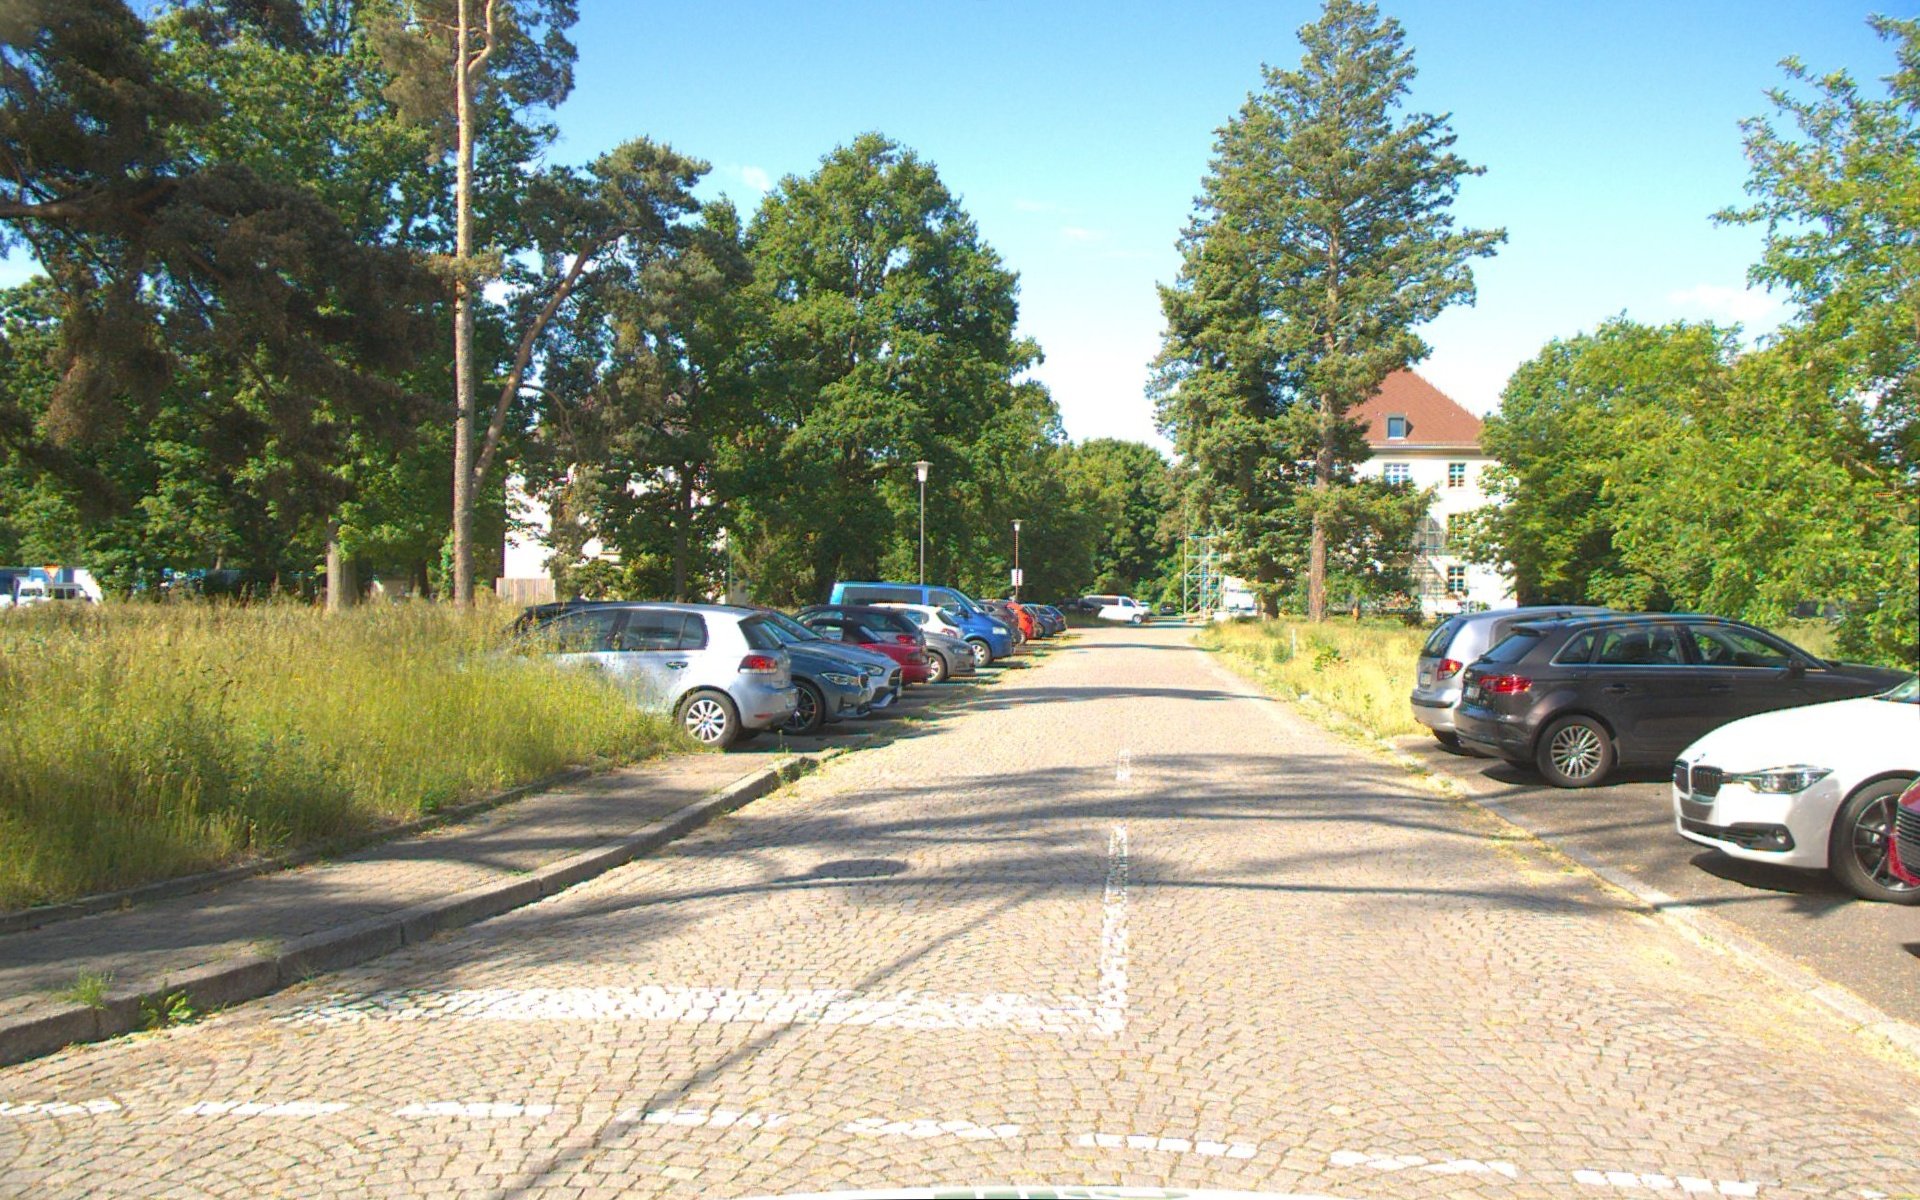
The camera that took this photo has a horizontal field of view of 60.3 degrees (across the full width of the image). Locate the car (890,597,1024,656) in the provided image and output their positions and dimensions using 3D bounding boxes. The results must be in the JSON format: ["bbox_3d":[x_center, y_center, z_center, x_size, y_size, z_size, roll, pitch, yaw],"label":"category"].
[{"bbox_3d":[-0.060,0.795,50.145,3.870,1.595,1.975,2,1,4],"label":"car"}]

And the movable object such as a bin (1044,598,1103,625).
[{"bbox_3d":[7.614,0.770,110.795,3.494,1.775,2.023,0,0,25],"label":"movable object such as a bin"}]

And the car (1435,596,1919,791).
[{"bbox_3d":[6.451,0.786,14.756,3.920,1.466,1.845,-3,0,4],"label":"car"}]

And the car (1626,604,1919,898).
[{"bbox_3d":[6.420,0.751,9.497,4.418,1.490,1.839,-2,-1,3],"label":"car"}]

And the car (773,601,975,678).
[{"bbox_3d":[-1.836,0.829,36.011,4.107,1.501,1.825,2,0,6],"label":"car"}]

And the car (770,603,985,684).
[{"bbox_3d":[-1.608,0.838,33.087,3.990,1.450,1.924,2,0,7],"label":"car"}]

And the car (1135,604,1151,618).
[{"bbox_3d":[20.936,1.223,188.989,1.774,1.607,4.137,0,0,6],"label":"car"}]

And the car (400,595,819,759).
[{"bbox_3d":[-3.639,0.767,17.654,3.942,1.509,1.950,2,1,4],"label":"car"}]

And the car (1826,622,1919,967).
[{"bbox_3d":[6.247,0.756,6.685,4.441,1.446,1.895,-2,-1,5],"label":"car"}]

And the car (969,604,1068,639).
[{"bbox_3d":[2.675,0.964,75.306,4.267,1.470,1.922,1,0,9],"label":"car"}]

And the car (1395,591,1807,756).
[{"bbox_3d":[6.654,0.752,17.497,3.662,1.502,1.753,-3,-1,4],"label":"car"}]

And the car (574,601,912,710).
[{"bbox_3d":[-3.249,0.811,25.344,4.761,1.445,1.940,2,0,6],"label":"car"}]

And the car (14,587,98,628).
[{"bbox_3d":[-56.836,0.463,104.109,1.942,2.479,5.280,0,0,7],"label":"car"}]

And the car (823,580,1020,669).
[{"bbox_3d":[-0.907,0.596,41.223,4.618,2.002,2.007,2,0,6],"label":"car"}]

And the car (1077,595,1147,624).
[{"bbox_3d":[11.359,0.718,123.579,5.123,2.051,1.951,1,0,5],"label":"car"}]

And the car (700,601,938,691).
[{"bbox_3d":[-2.532,0.826,30.281,3.990,1.477,1.823,2,-1,7],"label":"car"}]

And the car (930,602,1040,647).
[{"bbox_3d":[0.935,0.892,60.433,3.840,1.486,1.843,2,0,4],"label":"car"}]

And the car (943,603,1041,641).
[{"bbox_3d":[1.327,0.877,68.325,3.840,1.458,1.843,1,0,7],"label":"car"}]

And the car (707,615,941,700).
[{"bbox_3d":[-2.216,0.942,27.561,3.553,1.256,1.761,2,-1,7],"label":"car"}]

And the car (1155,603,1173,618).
[{"bbox_3d":[23.308,1.174,189.042,1.929,1.697,4.088,0,0,5],"label":"car"}]

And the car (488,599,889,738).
[{"bbox_3d":[-3.213,0.804,20.246,4.485,1.477,1.985,2,-1,2],"label":"car"}]

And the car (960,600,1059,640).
[{"bbox_3d":[2.143,0.853,70.650,4.047,1.607,1.886,1,0,6],"label":"car"}]

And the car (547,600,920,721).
[{"bbox_3d":[-3.068,0.811,22.967,4.761,1.446,1.939,2,-1,6],"label":"car"}]
